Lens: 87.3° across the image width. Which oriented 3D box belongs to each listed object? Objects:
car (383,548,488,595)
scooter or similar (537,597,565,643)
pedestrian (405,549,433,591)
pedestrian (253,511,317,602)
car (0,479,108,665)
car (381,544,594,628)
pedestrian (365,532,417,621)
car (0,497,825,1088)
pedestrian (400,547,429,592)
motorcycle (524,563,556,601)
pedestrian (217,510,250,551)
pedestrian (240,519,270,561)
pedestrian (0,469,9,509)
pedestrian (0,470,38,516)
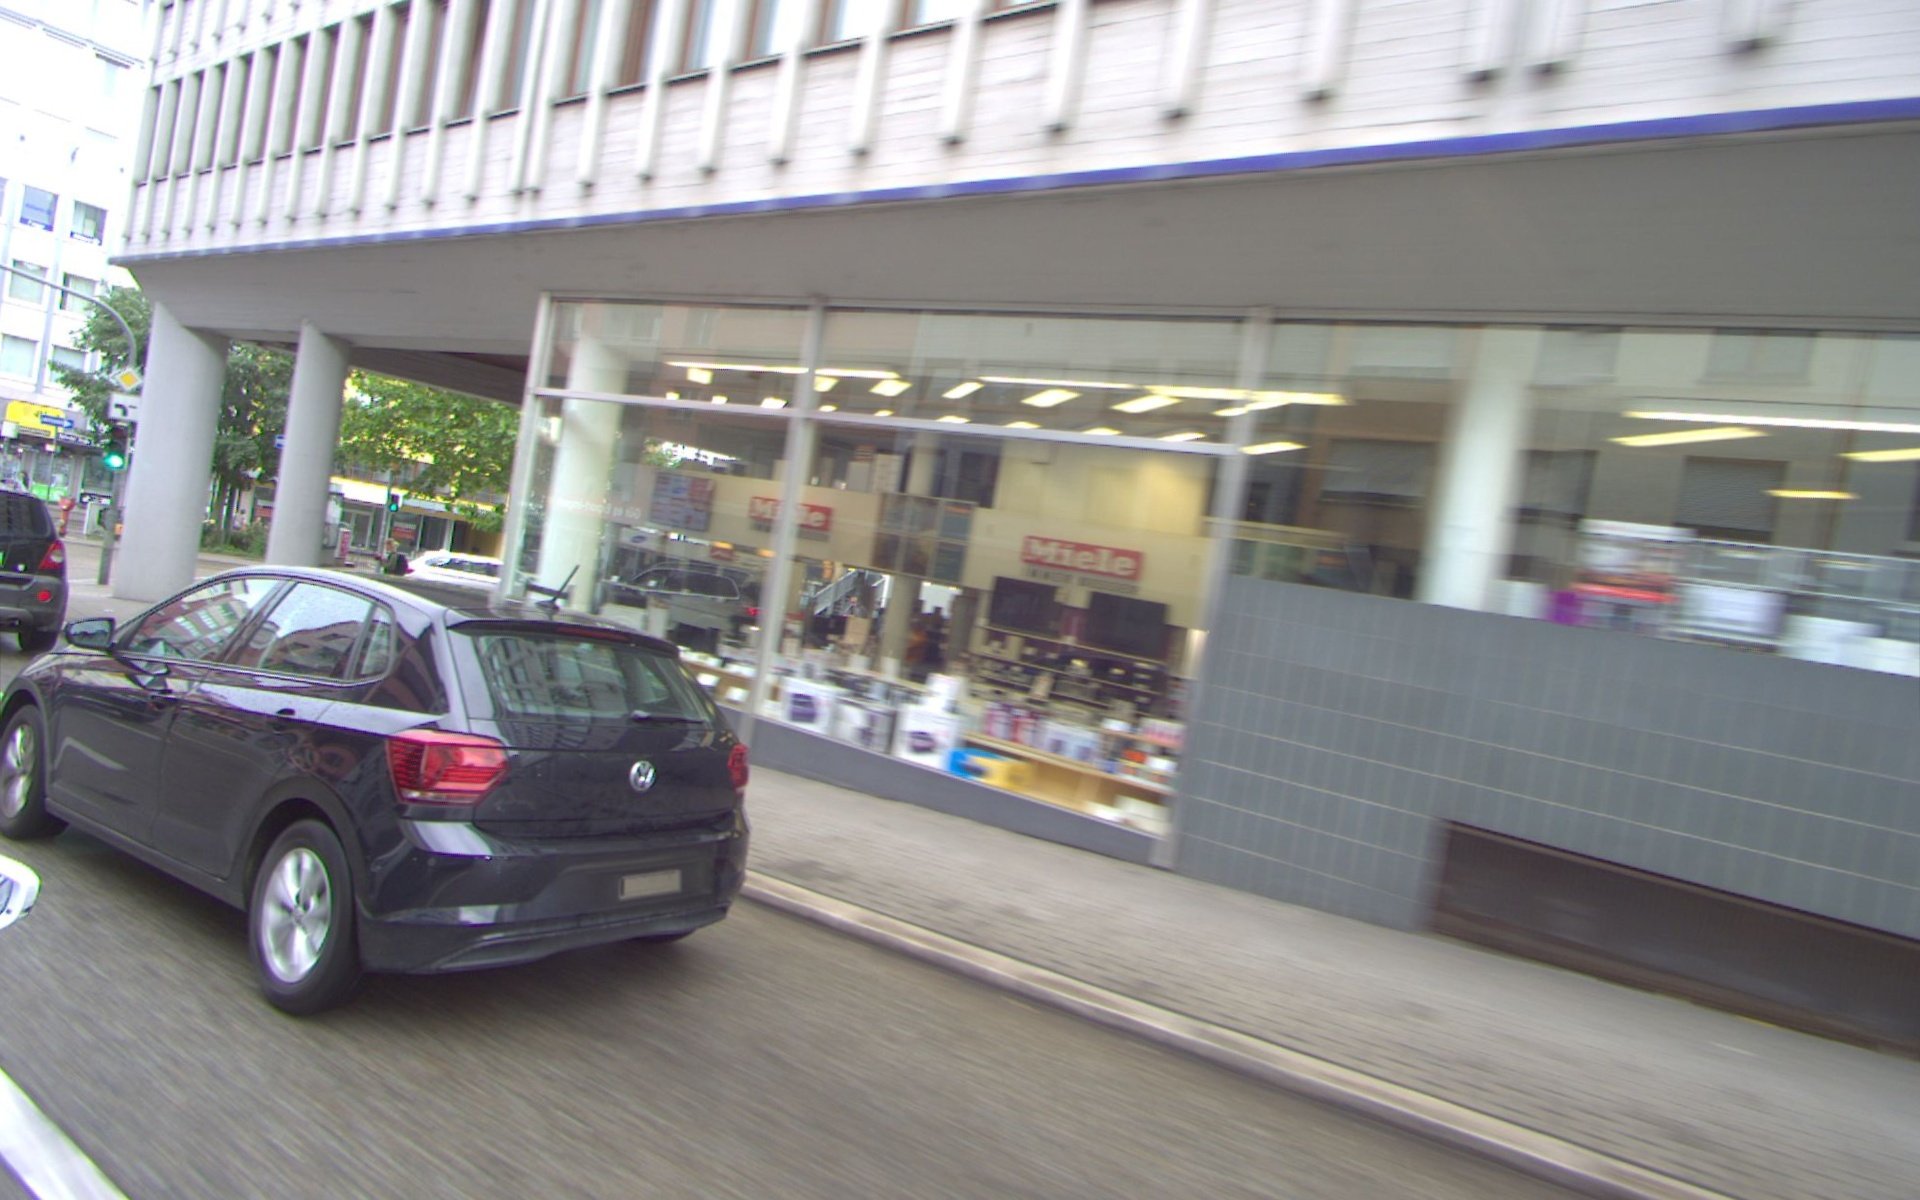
[{"bbox_3d":[-26.156,-1.403,50.257,4.179,1.430,1.805,11,2,-44],"label":"car"},{"bbox_3d":[-8.241,0.390,20.292,0.303,0.834,1.122,7,0,-16],"label":"scooter or similar"},{"bbox_3d":[-23.484,-1.298,43.658,0.671,1.693,0.712,2,-7,45],"label":"pedestrian"},{"bbox_3d":[-14.521,-0.924,21.639,0.815,1.841,0.722,6,1,26],"label":"pedestrian"},{"bbox_3d":[-11.086,-0.521,10.731,4.436,1.713,1.900,7,-3,36],"label":"car"},{"bbox_3d":[-12.480,-0.347,26.933,4.780,1.512,1.851,8,-1,-17],"label":"car"},{"bbox_3d":[-11.598,-0.487,20.484,0.717,1.711,0.821,5,2,-37],"label":"pedestrian"},{"bbox_3d":[-2.782,0.553,4.616,3.933,1.492,1.694,7,-4,31],"label":"car"},{"bbox_3d":[-23.968,-1.344,44.232,0.712,1.845,0.671,12,-7,-44],"label":"pedestrian"},{"bbox_3d":[-14.810,-0.648,35.510,0.619,1.131,1.934,8,3,-14],"label":"motorcycle"},{"bbox_3d":[-36.941,-3.535,51.169,0.666,1.845,0.894,7,-4,15],"label":"pedestrian"},{"bbox_3d":[-33.632,-2.868,48.011,0.818,1.847,0.884,11,-2,-31],"label":"pedestrian"},{"bbox_3d":[-44.064,-5.105,45.704,0.818,1.711,1.029,15,5,41],"label":"pedestrian"},{"bbox_3d":[-42.725,-4.865,45.678,0.818,1.822,1.029,15,5,41],"label":"pedestrian"}]
